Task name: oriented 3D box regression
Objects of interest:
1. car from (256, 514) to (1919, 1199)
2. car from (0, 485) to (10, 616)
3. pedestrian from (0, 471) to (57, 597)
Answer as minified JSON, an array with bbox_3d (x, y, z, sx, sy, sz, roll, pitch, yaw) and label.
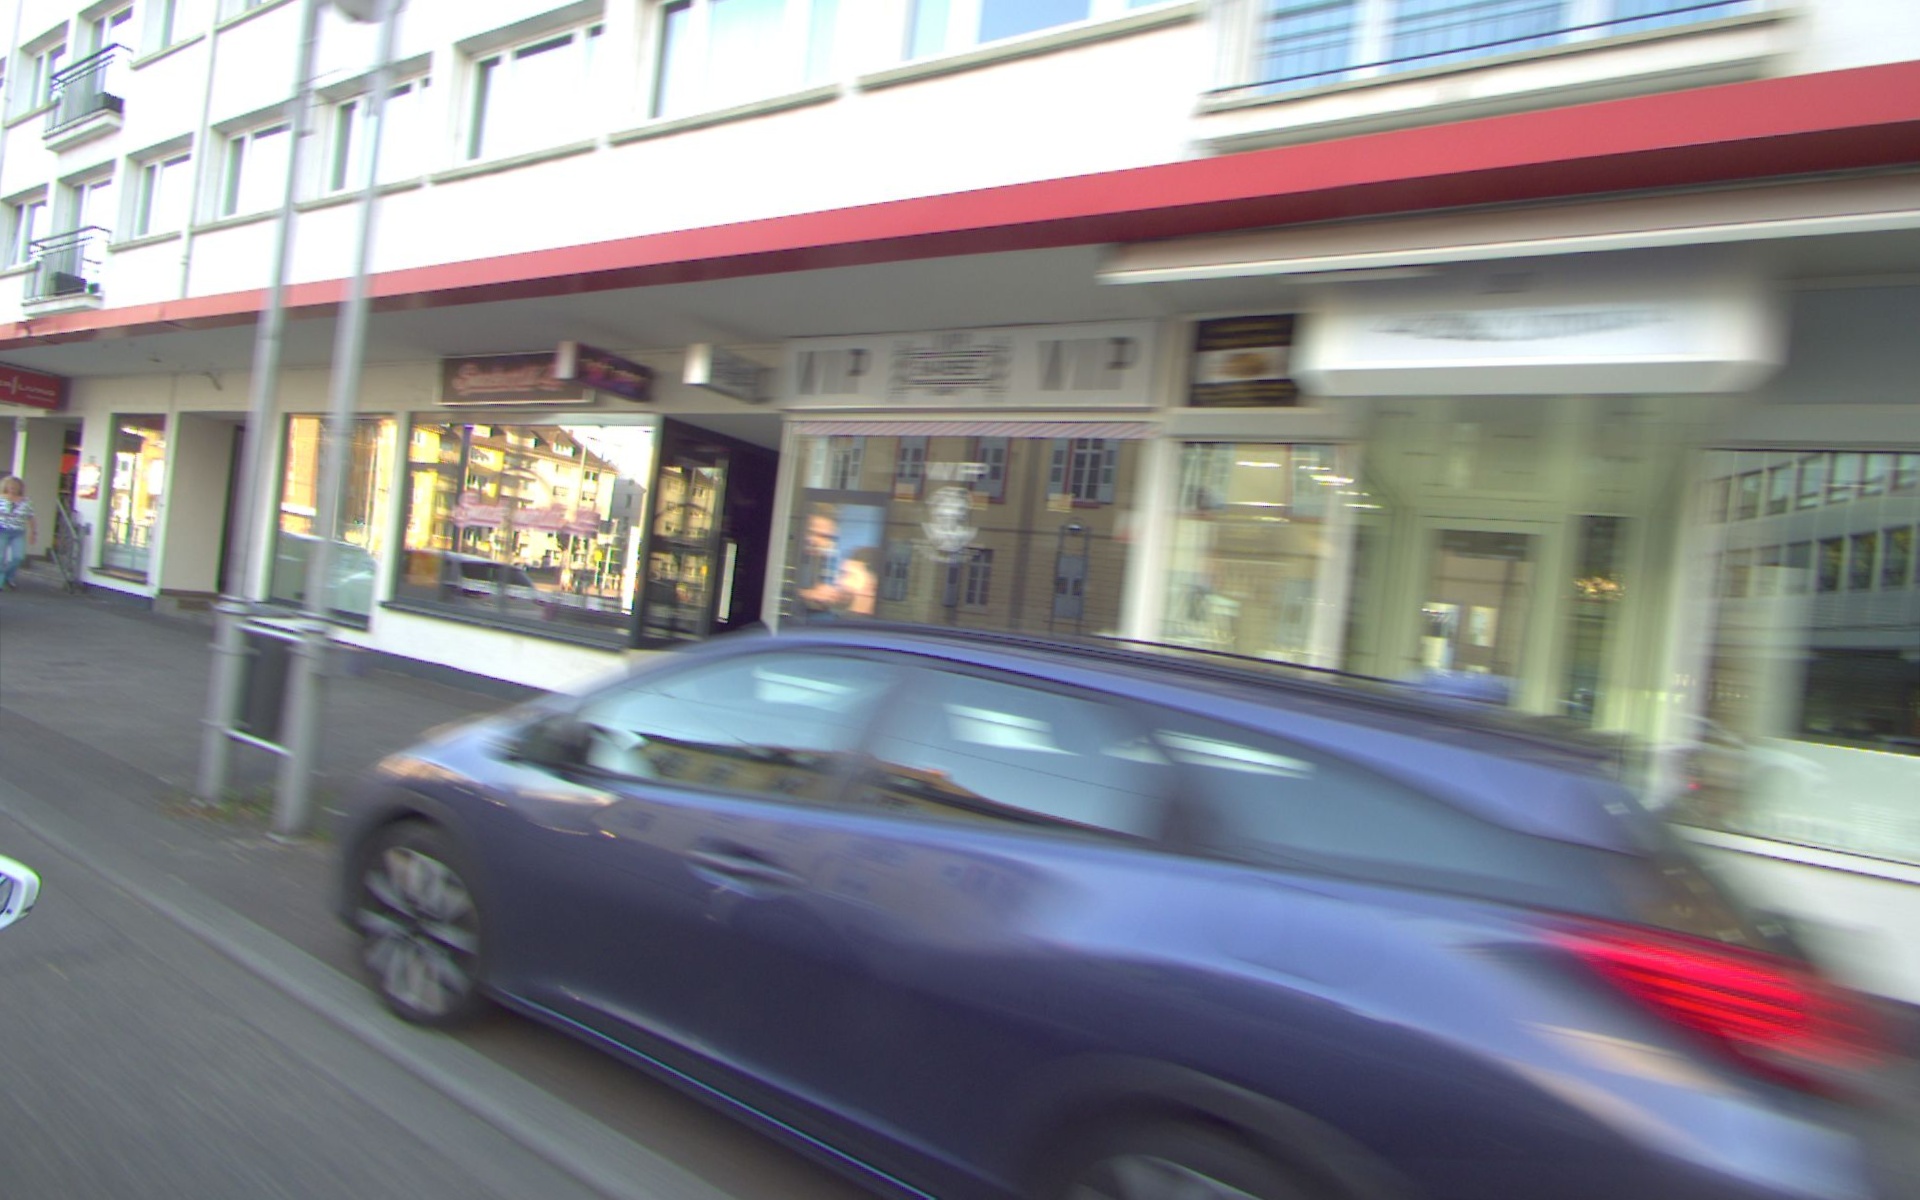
[{"bbox_3d":[-0.173,0.723,3.132,4.232,1.531,1.736,7,1,32],"label":"car"},{"bbox_3d":[-11.933,-0.658,10.617,3.985,1.531,1.786,7,1,32],"label":"car"},{"bbox_3d":[-13.897,-0.981,14.704,0.849,1.764,0.729,7,2,32],"label":"pedestrian"}]
